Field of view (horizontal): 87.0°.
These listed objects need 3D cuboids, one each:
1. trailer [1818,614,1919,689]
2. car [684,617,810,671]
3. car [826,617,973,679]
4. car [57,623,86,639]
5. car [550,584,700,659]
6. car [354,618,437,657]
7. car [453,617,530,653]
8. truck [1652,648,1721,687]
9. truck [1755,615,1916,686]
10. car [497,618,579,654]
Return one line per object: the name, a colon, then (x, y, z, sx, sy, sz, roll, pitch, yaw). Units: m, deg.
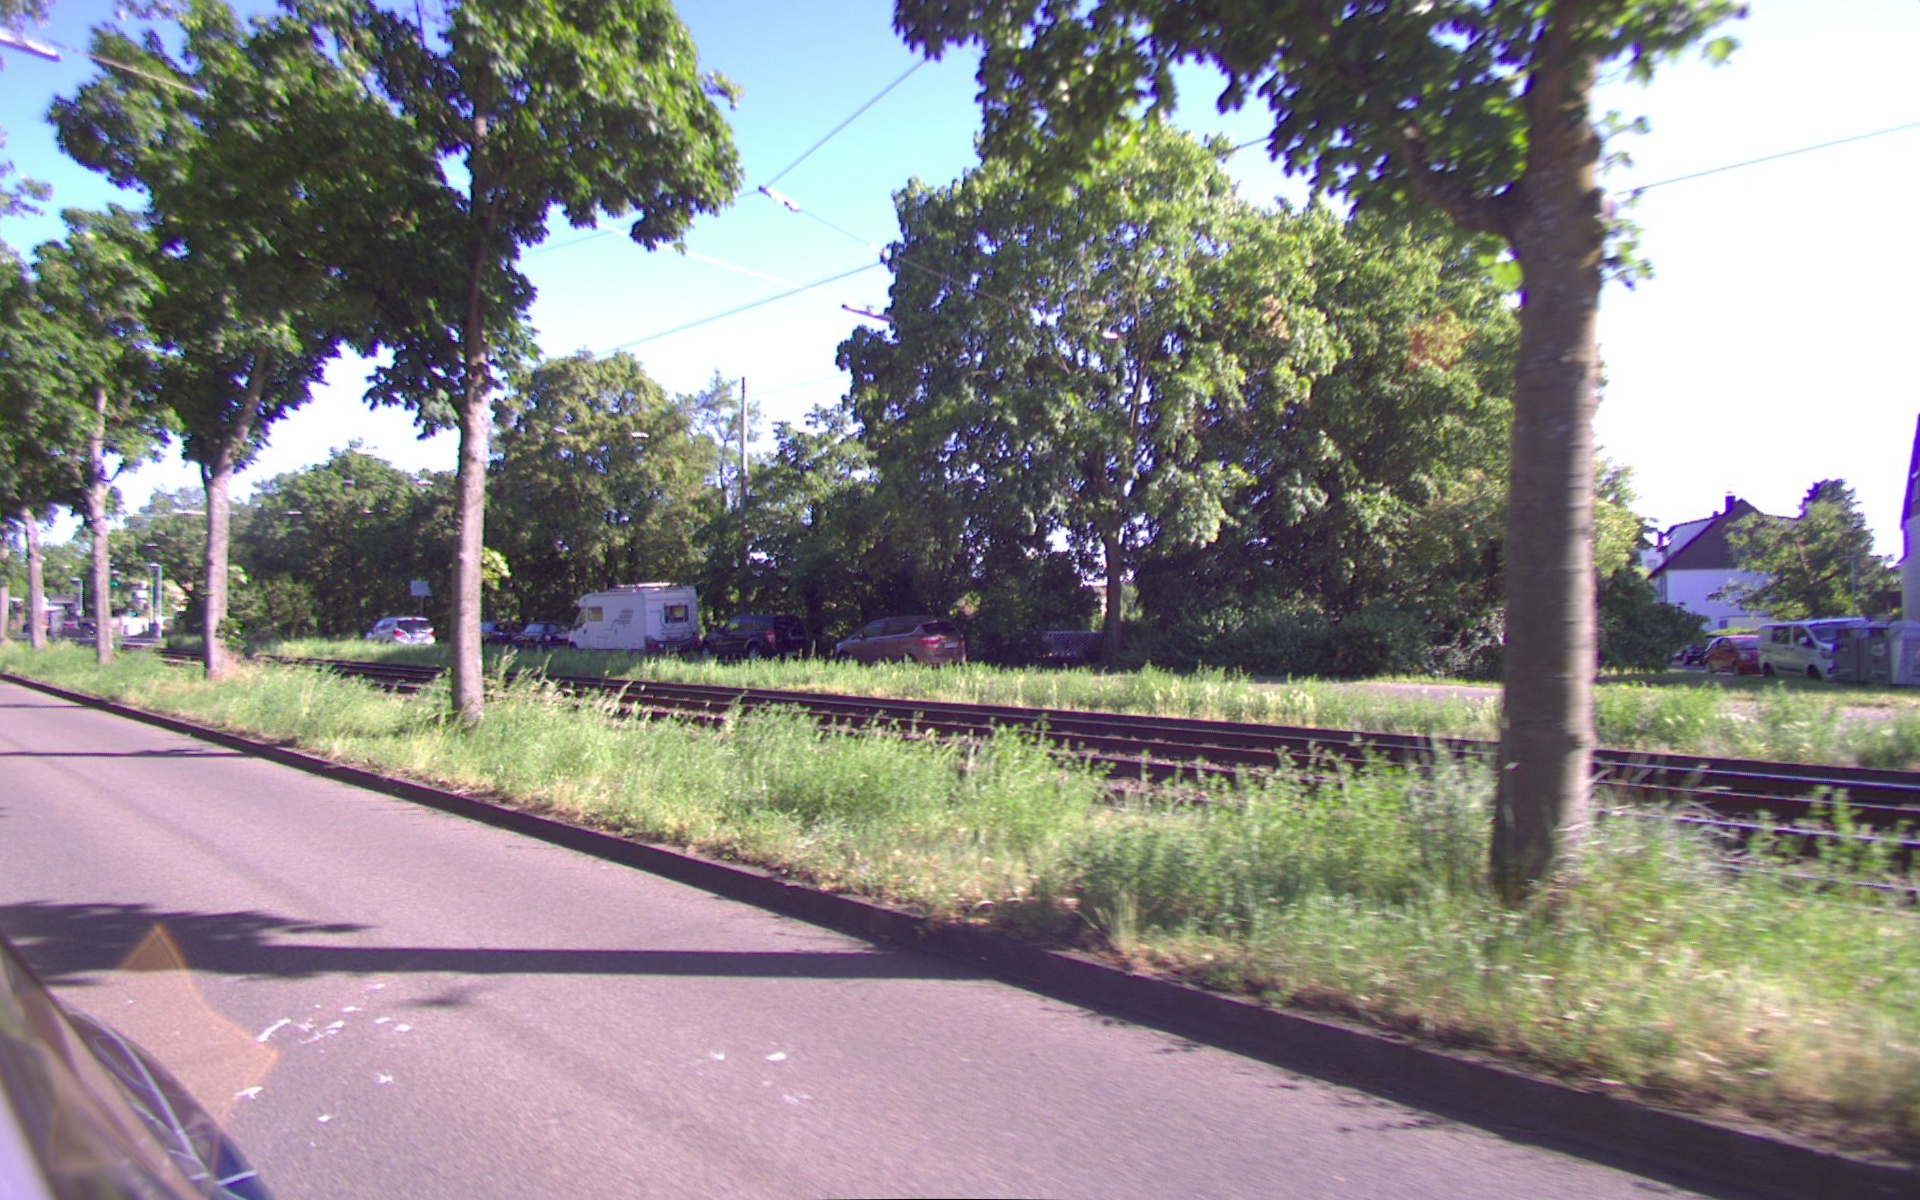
trailer: (21.223, 1.098, 22.779, 1.741, 1.515, 3.733, -1, 0, 21)
car: (-7.037, 1.395, 33.180, 4.530, 1.635, 1.605, -1, -1, 41)
car: (-1.763, 1.292, 28.536, 4.248, 1.596, 1.656, -1, -1, 43)
car: (-91.266, 3.176, 103.952, 4.591, 1.506, 1.619, -1, -4, 43)
car: (-12.700, 0.832, 38.032, 6.795, 2.600, 2.202, -2, -1, 41)
car: (-23.673, 1.531, 42.372, 4.441, 1.539, 1.709, -1, -1, 42)
car: (-21.490, 1.571, 46.378, 4.282, 1.575, 1.748, -1, -1, 43)
truck: (35.788, 3.300, 49.958, 1.874, 1.686, 3.865, -1, 0, 23)
truck: (25.998, 1.435, 30.298, 2.069, 1.883, 4.907, -1, 0, 21)
car: (-18.006, 1.509, 43.084, 3.999, 1.445, 1.692, -1, -1, 42)
